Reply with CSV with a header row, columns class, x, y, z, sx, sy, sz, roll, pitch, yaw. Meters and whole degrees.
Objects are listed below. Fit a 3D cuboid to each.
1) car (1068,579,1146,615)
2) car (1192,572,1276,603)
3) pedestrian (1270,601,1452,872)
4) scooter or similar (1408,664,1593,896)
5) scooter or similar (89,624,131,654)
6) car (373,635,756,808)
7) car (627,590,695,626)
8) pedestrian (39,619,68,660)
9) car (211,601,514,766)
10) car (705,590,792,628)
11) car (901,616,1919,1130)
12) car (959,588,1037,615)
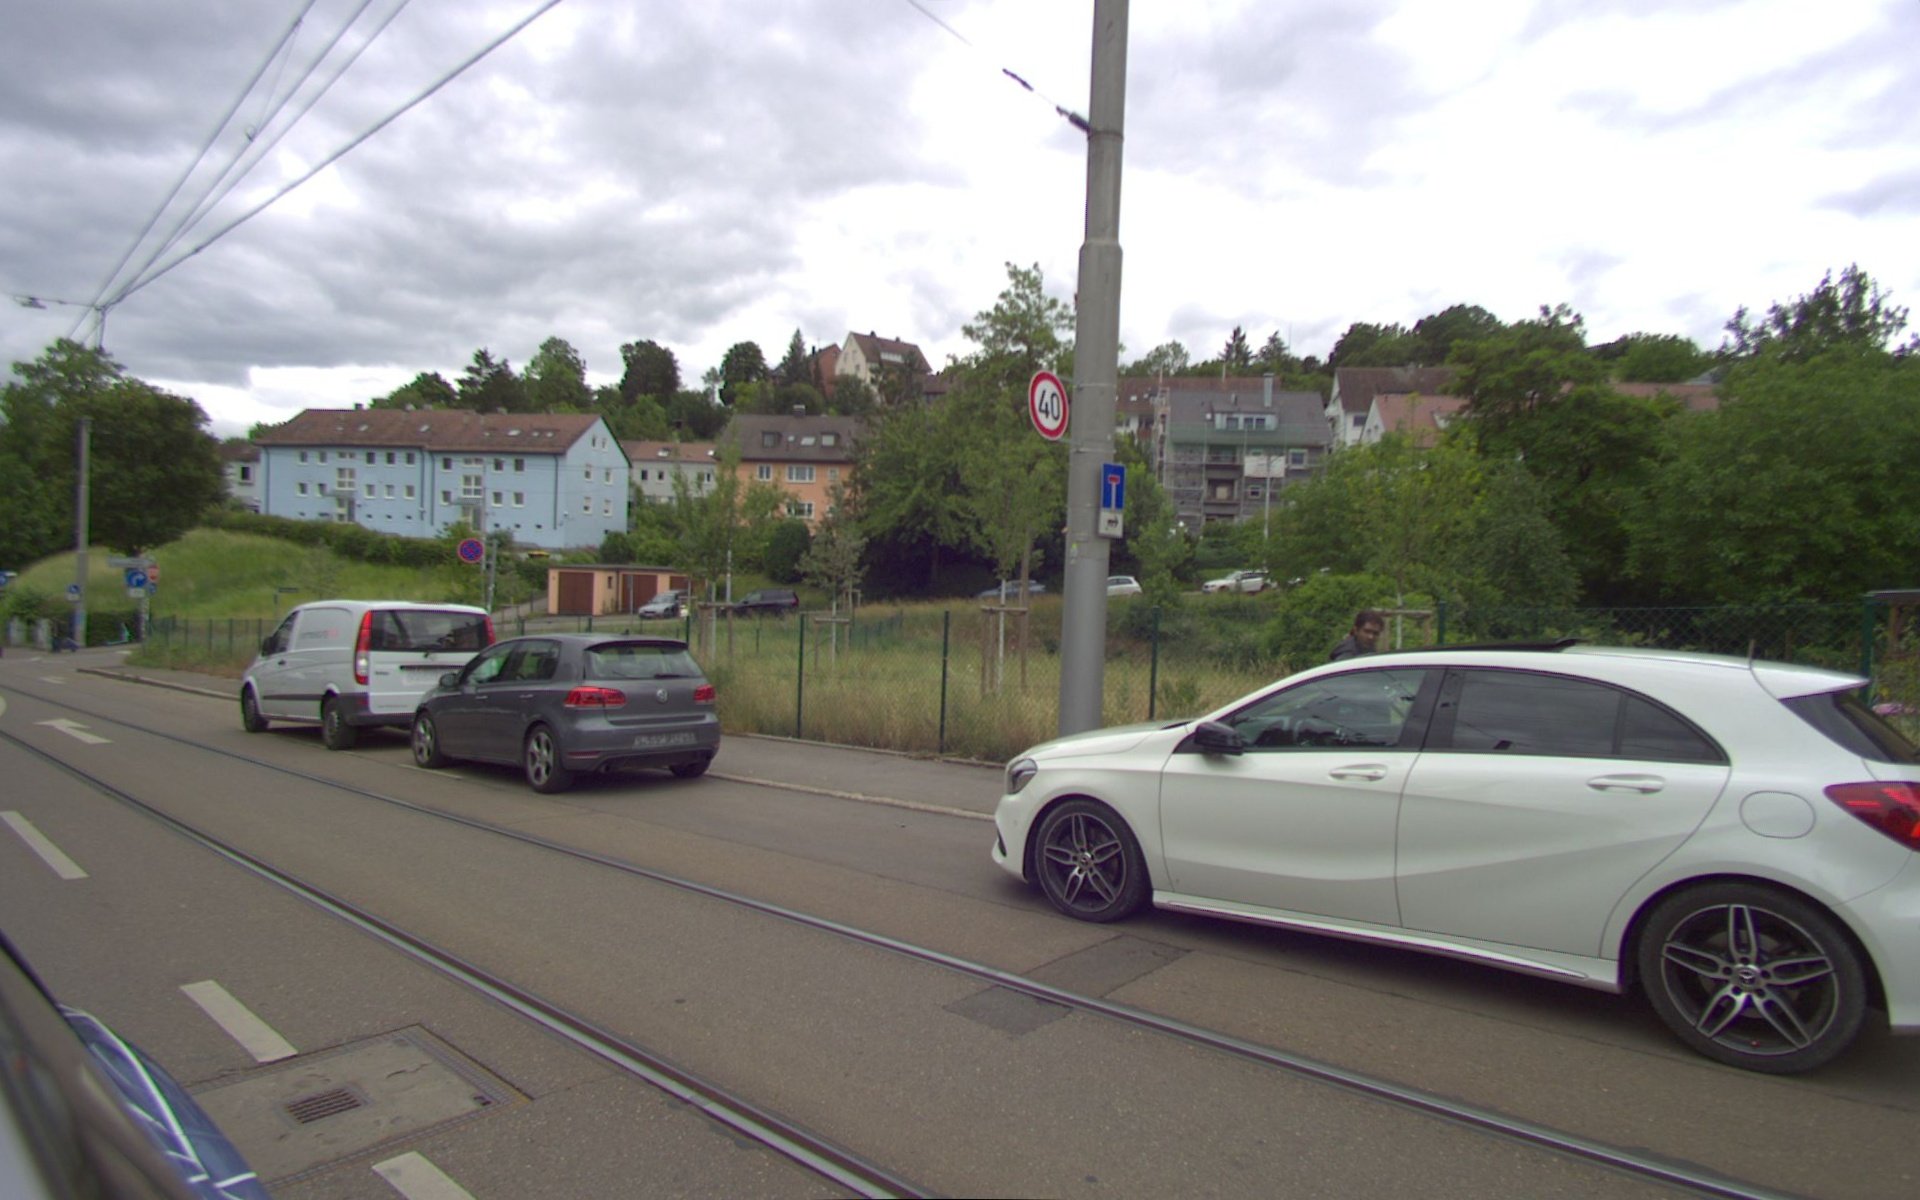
class,x,y,z,sx,sy,sz,roll,pitch,yaw
car,8.560,-0.191,58.984,4.064,2.029,1.987,0,0,-11
car,16.353,-0.725,60.494,4.411,1.802,1.906,0,0,-10
pedestrian,2.672,0.832,6.746,0.916,1.641,0.796,0,0,41
scooter or similar,3.292,1.027,6.160,0.839,1.205,0.796,0,0,41
scooter or similar,-40.298,1.833,48.008,0.418,1.298,1.394,-1,4,41
car,-4.316,1.097,10.687,4.508,1.444,1.877,-2,-3,41
car,-17.251,0.412,58.625,1.976,1.624,4.871,0,5,7
pedestrian,-40.669,1.759,45.425,0.887,1.763,0.744,0,0,-36
car,-8.406,1.027,14.058,4.880,1.896,2.015,0,-3,39
car,-11.363,0.477,54.391,4.378,1.702,1.982,-4,1,-12
car,2.032,0.867,5.008,4.660,1.537,1.865,-1,-2,41
car,2.114,0.077,57.367,4.065,1.523,1.987,0,0,-10
